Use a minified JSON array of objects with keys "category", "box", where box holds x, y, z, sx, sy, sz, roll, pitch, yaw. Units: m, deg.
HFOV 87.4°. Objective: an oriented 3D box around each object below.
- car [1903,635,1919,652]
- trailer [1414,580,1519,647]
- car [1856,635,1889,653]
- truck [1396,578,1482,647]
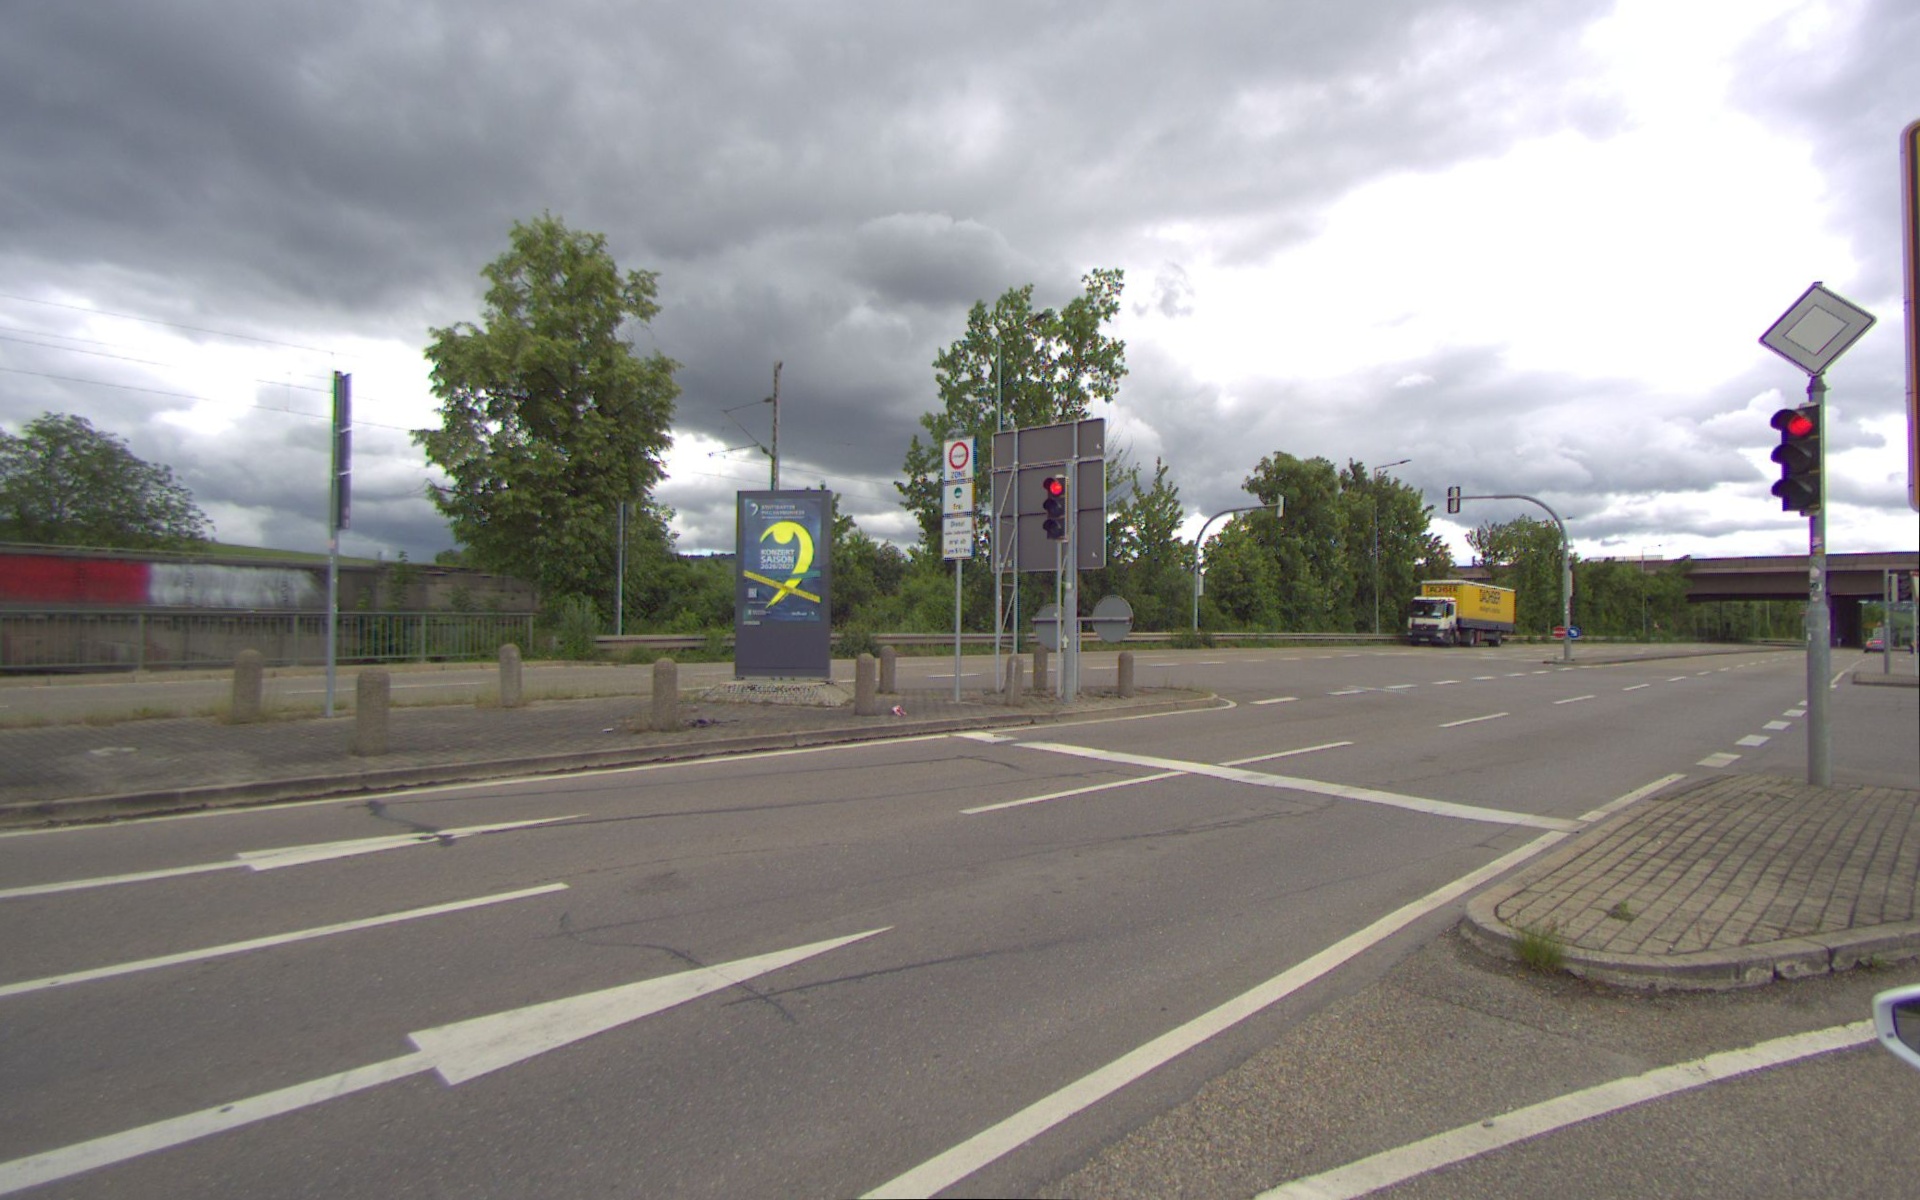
[{"category":"car","box":[92.263,4.229,96.777,1.972,1.483,4.087,1,-2,44]},{"category":"trailer","box":[34.418,0.881,67.962,2.842,4.139,11.353,3,1,45]},{"category":"car","box":[83.606,4.061,92.001,4.084,1.461,1.974,4,-2,-45]},{"category":"truck","box":[30.585,0.775,64.005,2.842,4.139,6.445,3,1,45]}]
